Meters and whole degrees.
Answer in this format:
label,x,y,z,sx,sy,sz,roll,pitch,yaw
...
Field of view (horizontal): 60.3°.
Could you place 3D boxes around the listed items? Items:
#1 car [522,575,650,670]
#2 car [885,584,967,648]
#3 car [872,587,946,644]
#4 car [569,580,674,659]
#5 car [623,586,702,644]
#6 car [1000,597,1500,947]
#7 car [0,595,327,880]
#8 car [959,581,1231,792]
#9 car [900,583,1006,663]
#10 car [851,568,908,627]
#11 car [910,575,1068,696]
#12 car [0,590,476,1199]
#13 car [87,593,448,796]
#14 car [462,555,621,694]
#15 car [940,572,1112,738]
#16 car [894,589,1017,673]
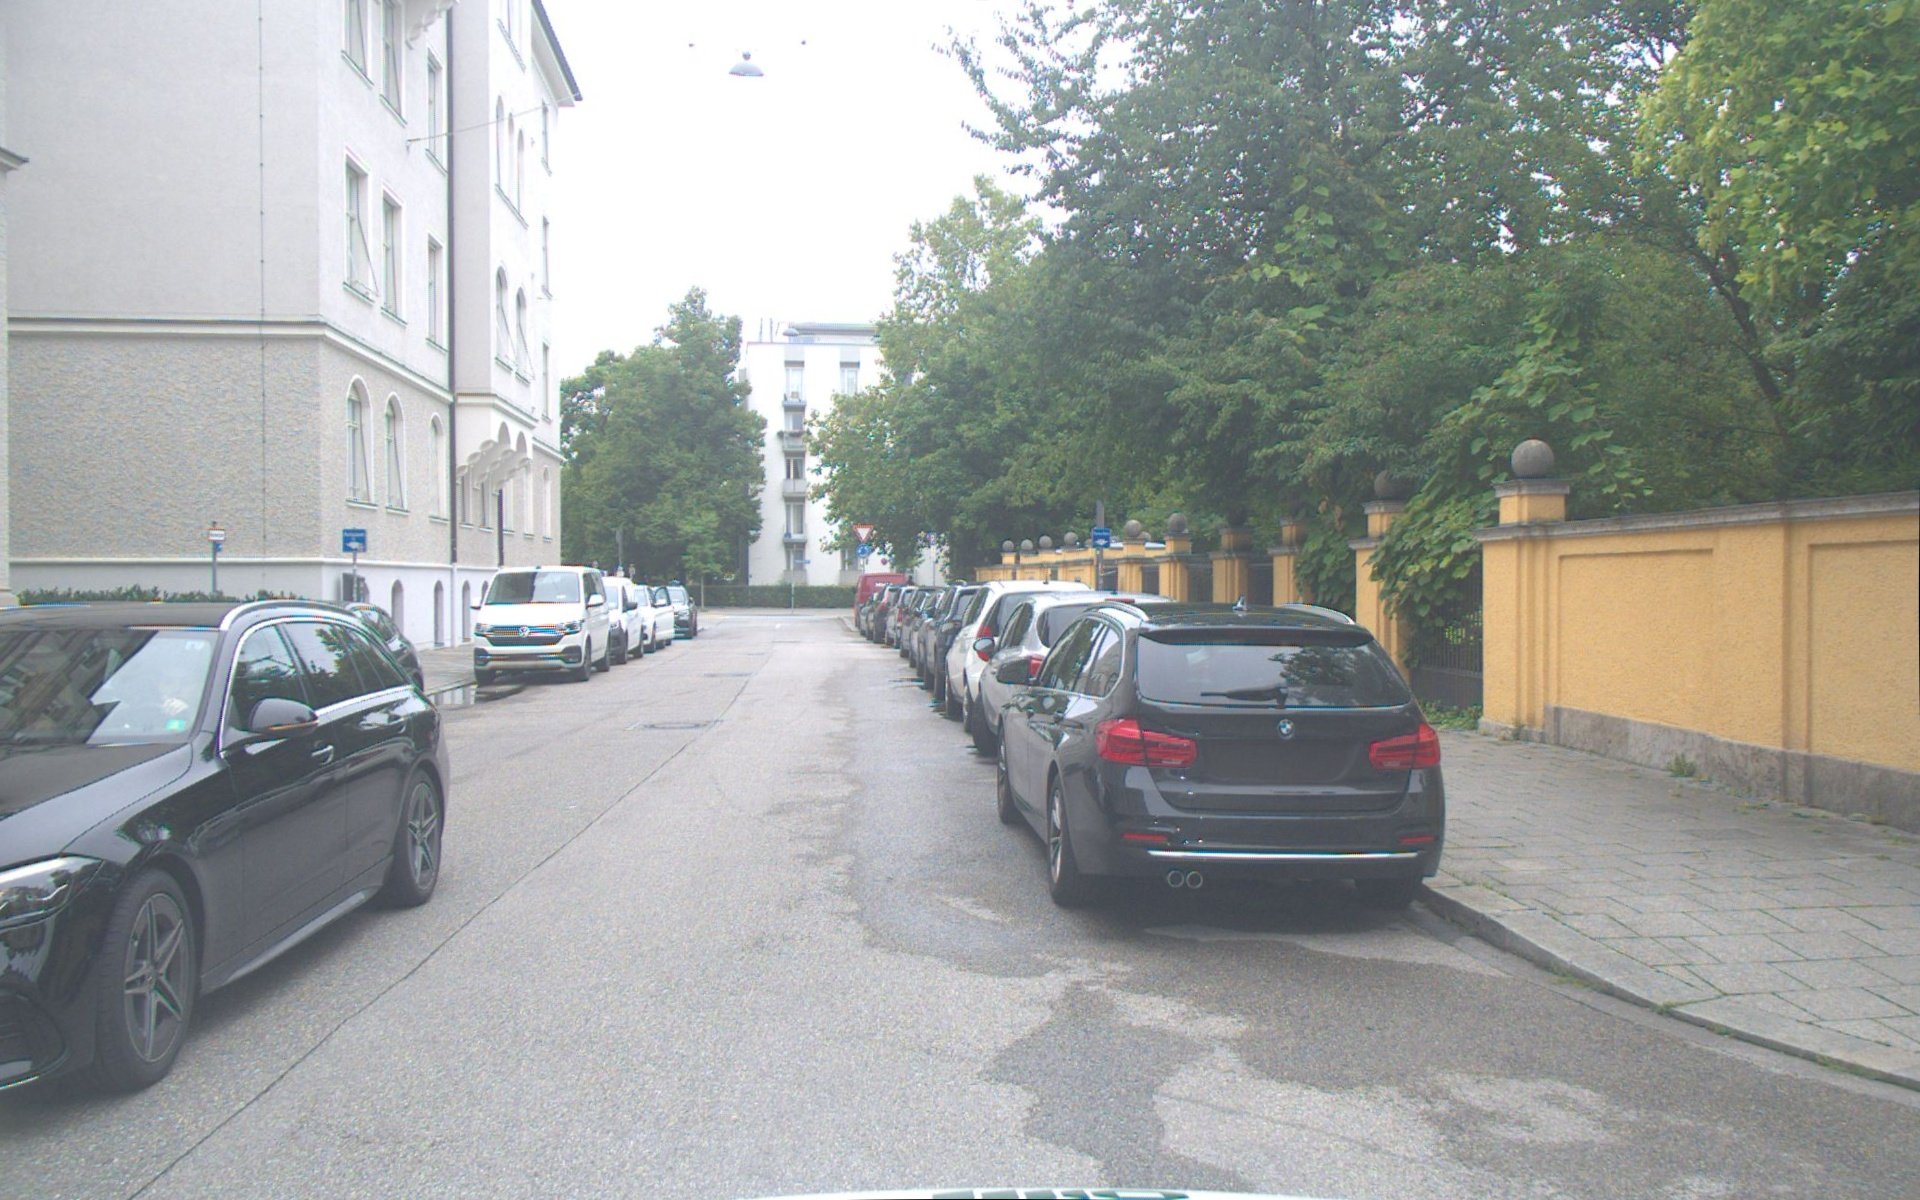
label,x,y,z,sx,sy,sz,roll,pitch,yaw
car,-7.934,0.427,35.481,1.976,1.802,4.410,-3,1,-4
car,-0.928,0.401,43.292,1.803,1.545,3.942,1,0,-6
car,-1.506,0.425,47.445,1.803,1.545,3.942,1,0,-6
car,-8.374,0.438,41.267,1.976,1.756,4.271,-3,1,-4
car,-9.459,0.437,52.943,1.976,1.662,4.410,-3,1,-4
car,1.273,0.724,9.085,1.801,1.438,4.340,1,0,-3
car,-5.883,0.769,10.934,1.799,1.463,4.273,-3,1,-2
car,1.008,0.643,14.111,1.621,1.545,3.790,1,0,-6
car,-0.207,0.460,34.473,1.803,1.545,3.942,1,0,-6
car,-2.843,-0.117,59.283,1.799,1.960,4.004,2,1,0
car,0.329,0.479,23.997,1.803,1.578,3.942,1,0,-6
car,-3.318,0.735,6.226,1.837,1.453,4.407,-1,1,-3
car,-6.346,0.762,15.732,1.800,1.525,4.271,-3,1,-4
car,-7.321,0.364,29.379,1.849,2.164,4.702,-3,1,-4
car,0.659,0.569,18.827,1.484,1.690,3.670,1,0,-5
car,-0.150,0.525,29.535,1.803,1.369,3.942,1,0,-6
